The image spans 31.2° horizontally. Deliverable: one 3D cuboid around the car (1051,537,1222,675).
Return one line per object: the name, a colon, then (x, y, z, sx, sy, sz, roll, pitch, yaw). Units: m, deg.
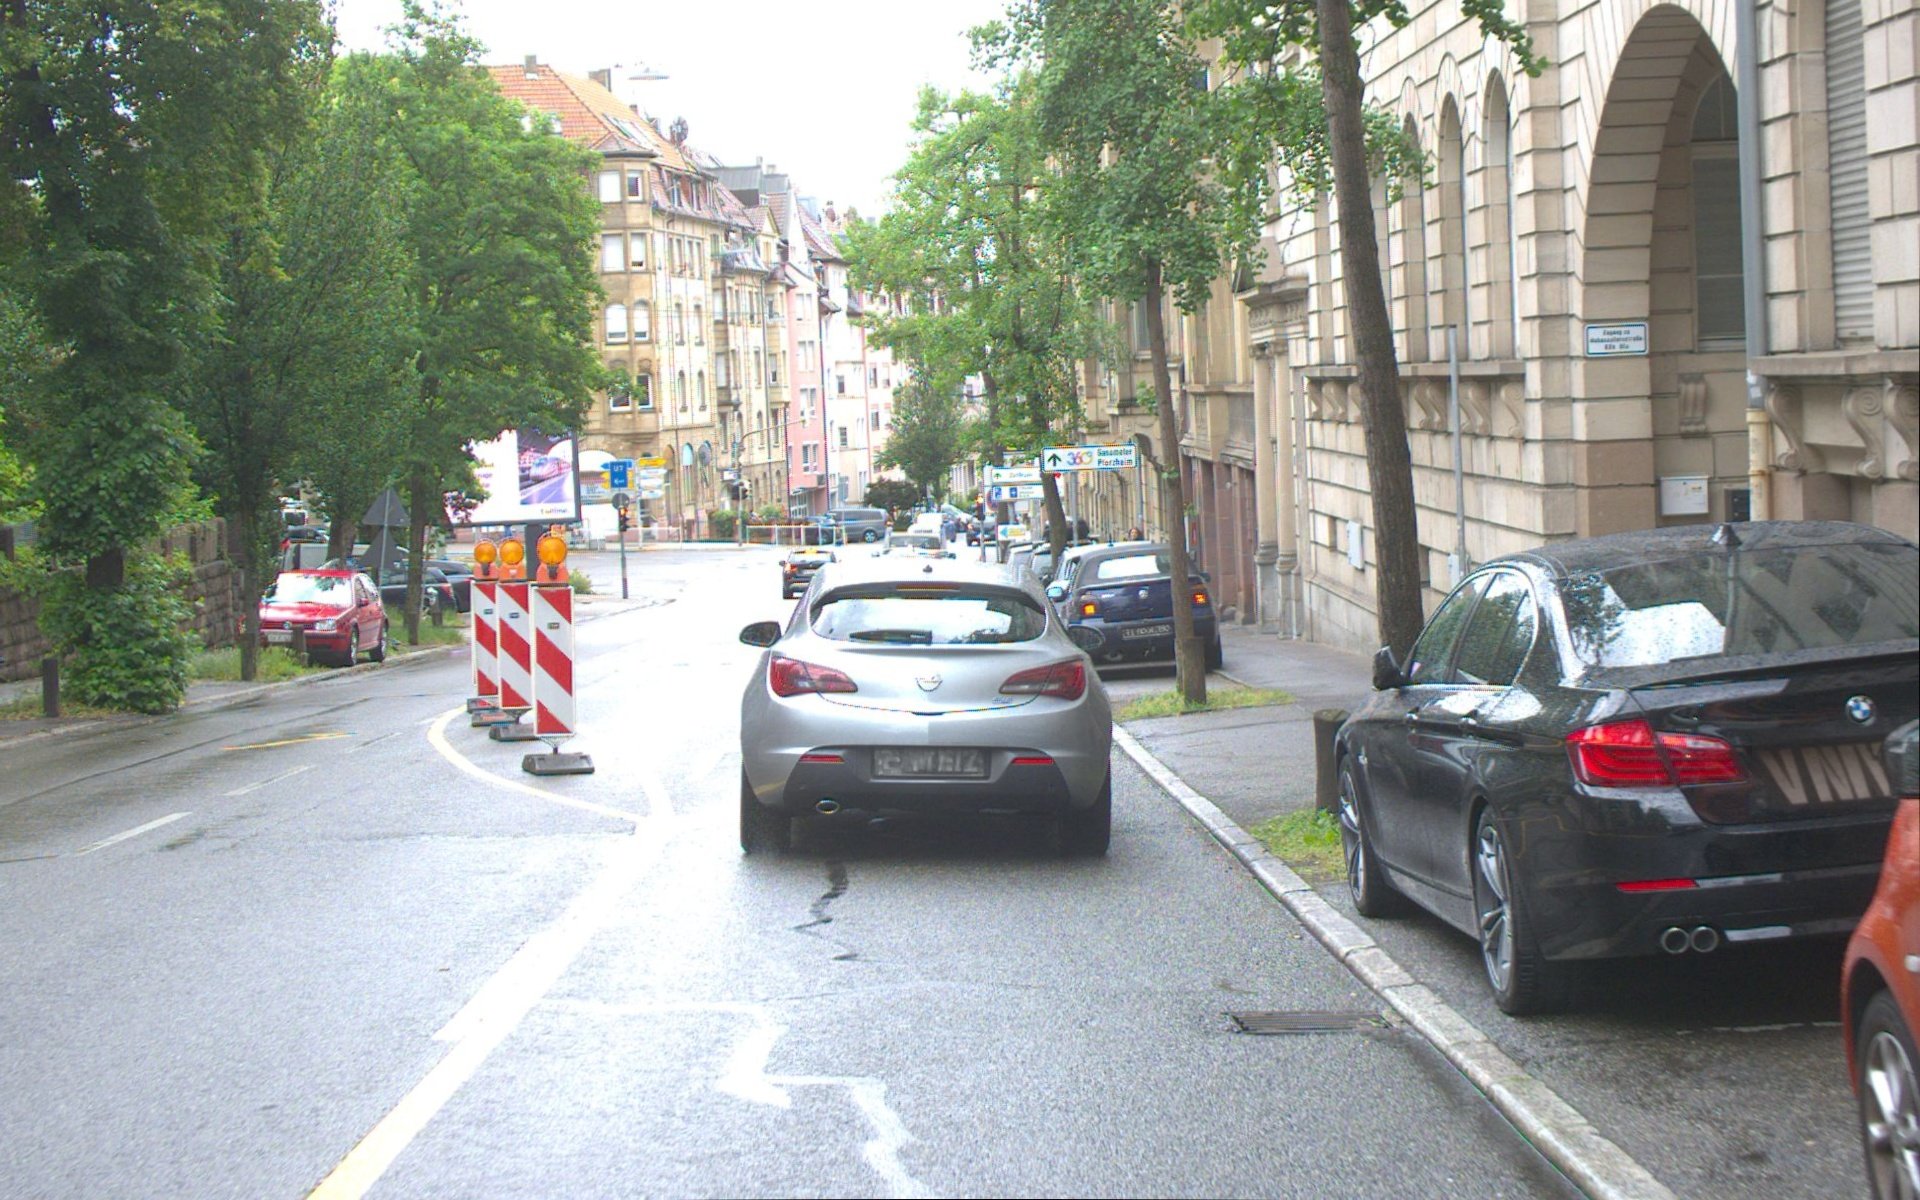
car: (1.946, 0.032, 38.668, 1.637, 1.424, 3.377, -2, 1, -1)

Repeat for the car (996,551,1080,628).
car: (1.648, -0.244, 73.380, 1.637, 1.519, 3.858, -2, 1, 0)

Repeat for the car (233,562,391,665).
car: (-9.868, 0.178, 52.629, 1.637, 1.434, 4.080, -2, 1, 0)

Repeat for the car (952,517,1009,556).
car: (0.975, -2.943, 160.002, 1.994, 1.678, 3.998, 1, 0, 9)

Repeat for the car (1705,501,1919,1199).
car: (2.557, 0.541, 5.998, 1.638, 1.515, 3.184, -4, 1, -2)

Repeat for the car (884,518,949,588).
car: (-1.118, -1.229, 89.706, 1.656, 1.776, 3.665, 0, 1, 0)

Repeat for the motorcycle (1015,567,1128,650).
motorcycle: (1.707, 0.124, 52.235, 0.657, 1.231, 1.977, 1, 0, 39)

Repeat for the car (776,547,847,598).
car: (-4.528, -0.861, 105.115, 1.993, 1.495, 4.000, -1, 1, 0)

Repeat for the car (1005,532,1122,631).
car: (1.734, -0.343, 58.615, 1.637, 1.597, 3.858, -2, 1, -3)

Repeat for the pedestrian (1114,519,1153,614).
pedestrian: (3.406, -0.652, 67.554, 0.716, 1.863, 0.636, 1, 0, -1)

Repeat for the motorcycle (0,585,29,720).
motorcycle: (-9.955, 0.520, 34.285, 0.765, 1.341, 2.203, 1, 0, -1)

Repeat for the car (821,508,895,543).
car: (-5.543, -4.052, 187.261, 3.987, 1.744, 2.000, 1, 0, -1)

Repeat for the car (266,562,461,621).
car: (-14.102, -0.213, 81.268, 4.308, 1.239, 1.643, -2, 1, -19)

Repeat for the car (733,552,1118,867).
car: (-0.219, 0.486, 18.115, 1.811, 1.444, 3.869, 0, 1, -2)

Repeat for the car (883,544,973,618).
car: (-0.741, -0.442, 77.750, 1.656, 1.537, 3.666, -3, 1, -5)

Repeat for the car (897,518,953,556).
car: (-1.645, -3.000, 164.256, 1.994, 1.678, 3.998, 1, 0, 9)

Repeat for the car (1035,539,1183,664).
car: (1.852, -0.015, 43.600, 1.637, 1.464, 3.858, -2, 1, 0)

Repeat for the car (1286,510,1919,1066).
car: (2.366, 0.478, 12.034, 1.757, 1.456, 4.724, -4, 1, -2)

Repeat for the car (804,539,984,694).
car: (-0.739, 0.126, 35.834, 1.772, 1.499, 3.870, 0, 1, -3)
